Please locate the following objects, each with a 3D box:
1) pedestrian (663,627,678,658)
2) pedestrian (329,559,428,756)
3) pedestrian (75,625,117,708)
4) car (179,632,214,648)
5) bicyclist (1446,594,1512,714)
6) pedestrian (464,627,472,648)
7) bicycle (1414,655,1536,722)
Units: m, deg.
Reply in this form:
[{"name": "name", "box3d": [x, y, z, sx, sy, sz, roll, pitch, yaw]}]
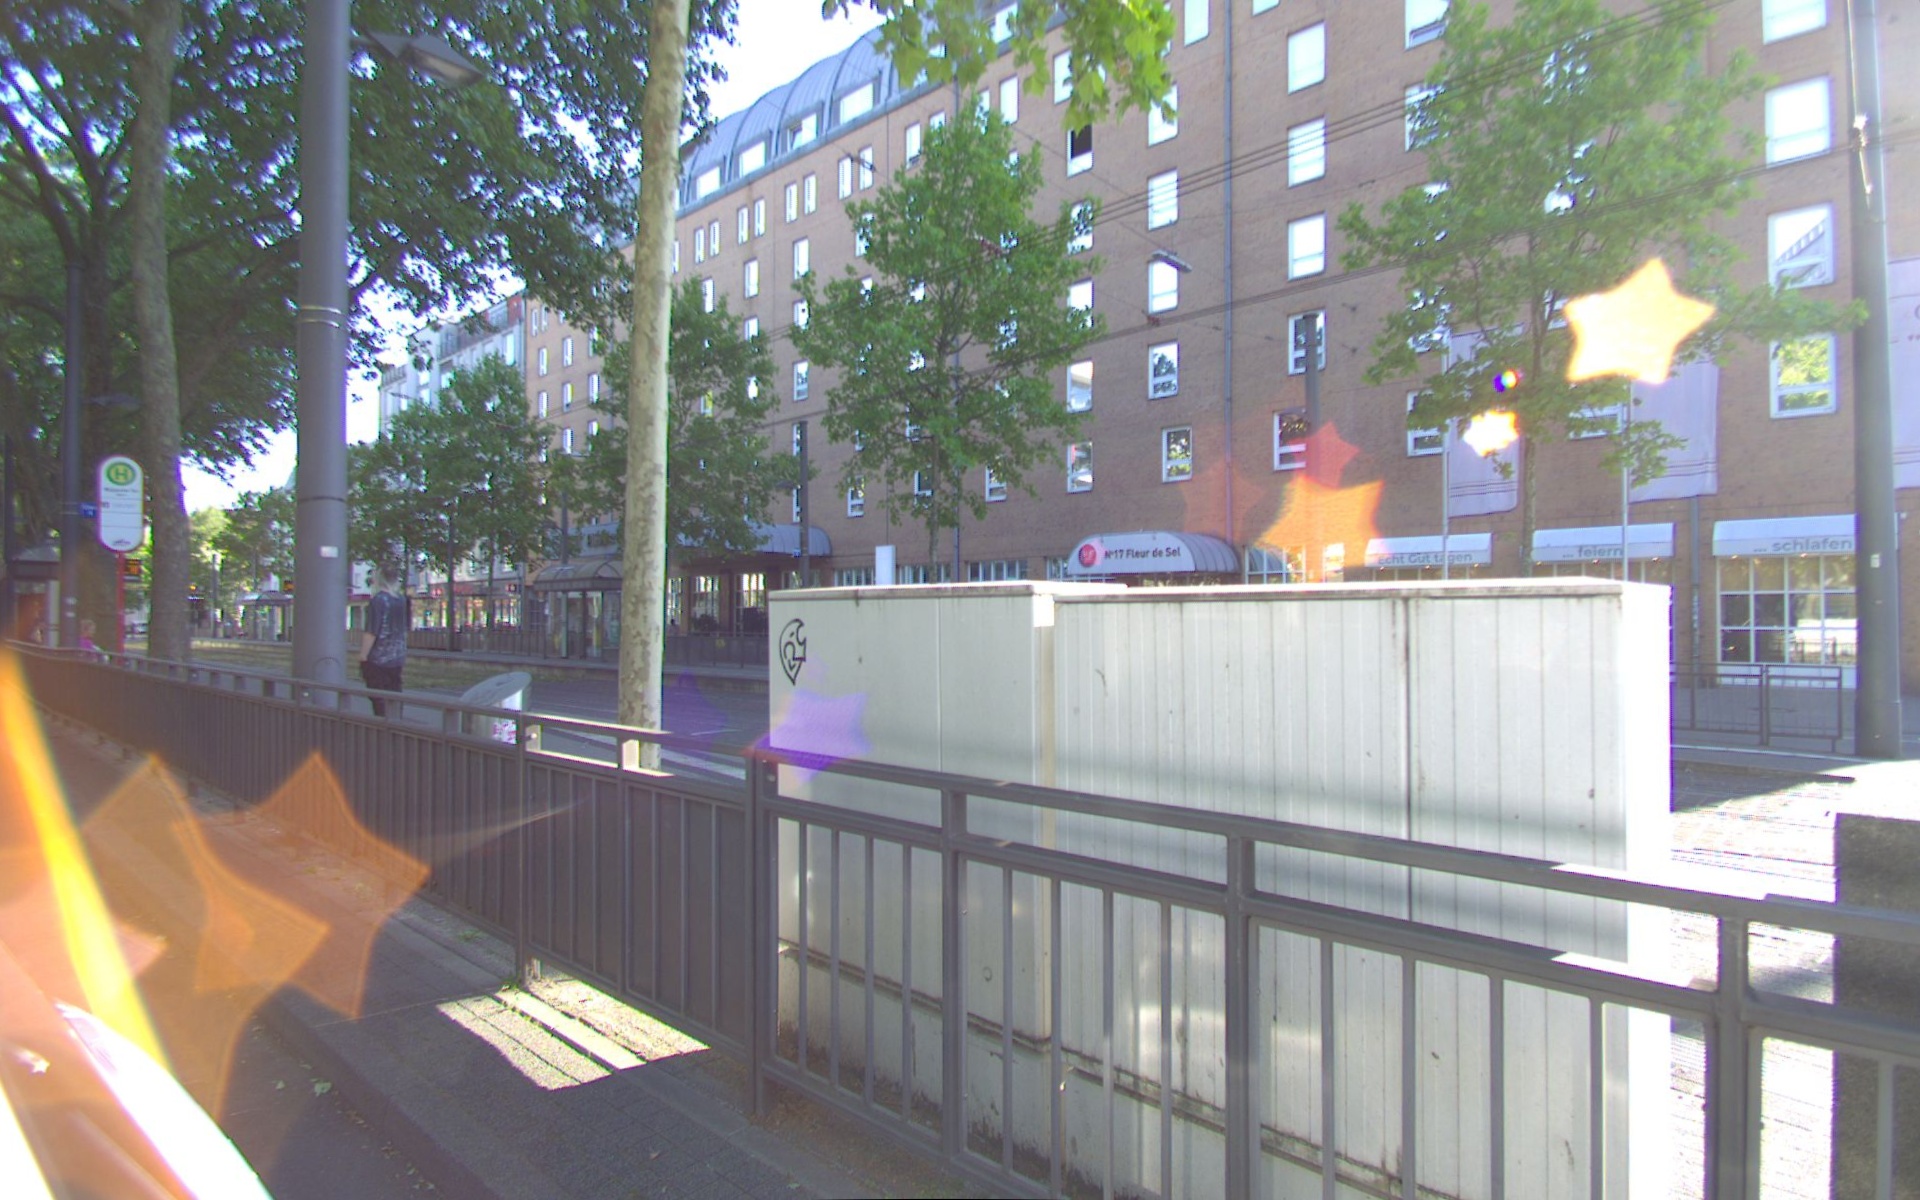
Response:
[{"name": "pedestrian", "box3d": [-13.881, 2.030, 48.501, 0.516, 1.447, 0.512, -2, -2, 44]}, {"name": "pedestrian", "box3d": [-5.823, 0.547, 10.144, 0.620, 1.897, 0.601, 1, 0, 26]}, {"name": "pedestrian", "box3d": [-13.960, 1.061, 16.357, 0.493, 1.325, 0.419, 1, -2, -41]}, {"name": "car", "box3d": [-74.258, 3.879, 98.402, 3.999, 1.530, 1.972, -1, -2, 43]}, {"name": "bicyclist", "box3d": [8.564, 0.879, 16.713, 0.564, 1.918, 0.814, 2, -2, -43]}, {"name": "pedestrian", "box3d": [-34.676, 2.636, 71.343, 0.431, 1.518, 0.660, 1, -2, -27]}, {"name": "bicycle", "box3d": [8.547, 1.443, 16.846, 0.444, 1.012, 1.754, 2, -2, -44]}]
